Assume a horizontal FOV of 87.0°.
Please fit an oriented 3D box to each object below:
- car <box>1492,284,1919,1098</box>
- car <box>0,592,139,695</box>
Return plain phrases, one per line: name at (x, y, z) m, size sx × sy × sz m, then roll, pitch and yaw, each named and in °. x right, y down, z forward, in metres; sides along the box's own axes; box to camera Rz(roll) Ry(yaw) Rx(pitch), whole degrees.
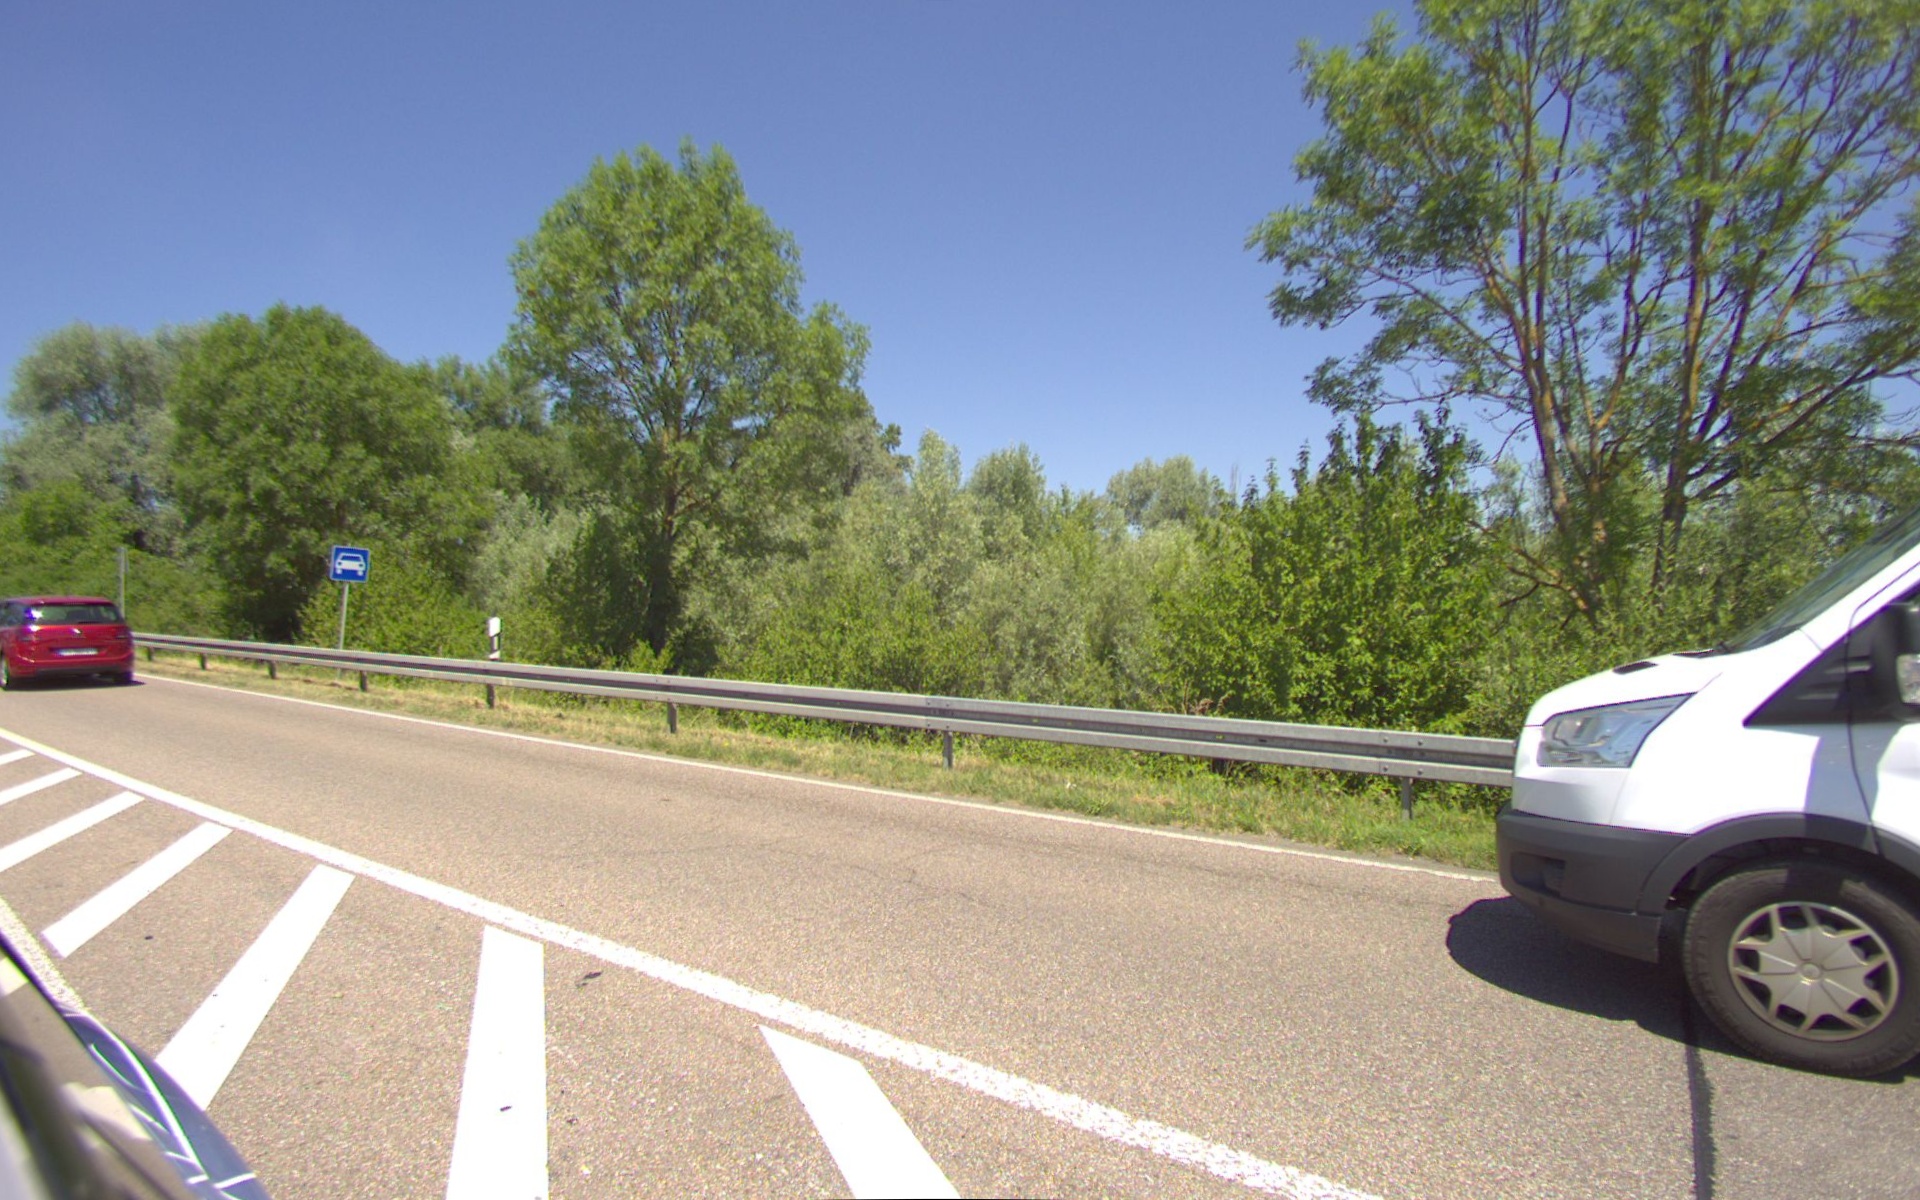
car at (4.772, 0.277, 2.830) m, size 5.580 × 2.435 × 1.975 m, roll -1°, pitch -3°, yaw 37°
car at (-16.915, 0.766, 18.688) m, size 4.202 × 1.698 × 1.720 m, roll -1°, pitch -2°, yaw 37°
